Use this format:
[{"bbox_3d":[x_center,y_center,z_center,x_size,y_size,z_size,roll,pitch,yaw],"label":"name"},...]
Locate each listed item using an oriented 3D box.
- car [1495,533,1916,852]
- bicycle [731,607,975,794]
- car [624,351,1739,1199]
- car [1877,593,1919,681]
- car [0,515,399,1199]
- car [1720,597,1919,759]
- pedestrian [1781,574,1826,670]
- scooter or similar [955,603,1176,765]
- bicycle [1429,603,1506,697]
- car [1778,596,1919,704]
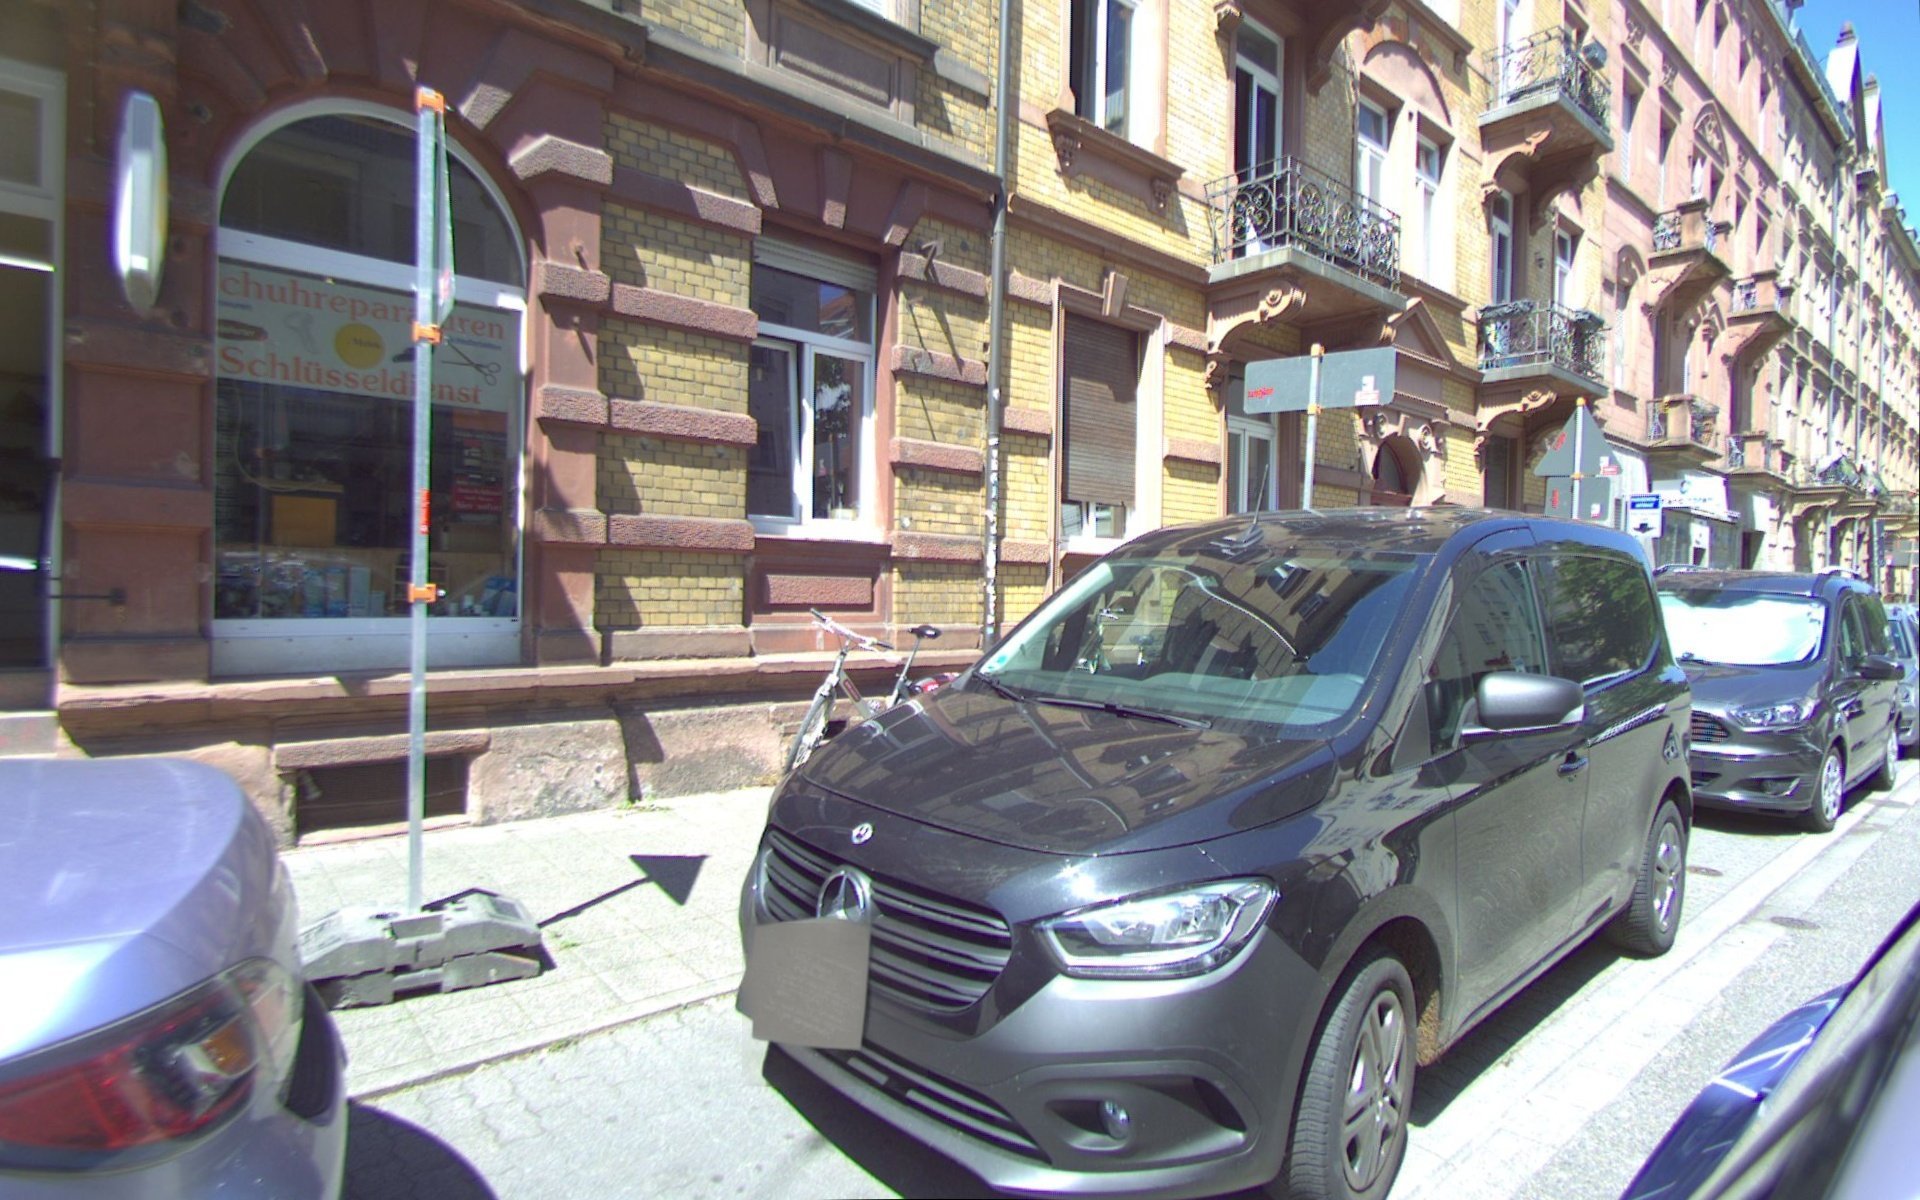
[{"bbox_3d":[5.666,0.498,7.511,3.930,1.755,1.704,0,0,-41],"label":"car"},{"bbox_3d":[-0.668,0.610,6.792,1.725,1.117,0.354,0,1,-41],"label":"bicycle"},{"bbox_3d":[1.219,0.471,3.691,4.264,1.788,1.827,0,2,-43],"label":"car"},{"bbox_3d":[17.658,0.621,18.113,3.628,1.481,1.600,0,0,-44],"label":"car"},{"bbox_3d":[-2.859,0.611,0.329,4.409,1.450,1.728,0,2,-43],"label":"car"},{"bbox_3d":[9.621,0.703,11.002,1.760,1.468,3.844,0,0,43],"label":"car"},{"bbox_3d":[17.454,0.446,20.935,0.363,1.938,0.634,1,0,-40],"label":"pedestrian"},{"bbox_3d":[0.915,0.618,8.264,2.111,1.167,0.477,0,0,-41],"label":"scooter or similar"},{"bbox_3d":[6.555,0.616,13.044,1.404,1.121,0.366,-1,2,-41],"label":"bicycle"},{"bbox_3d":[14.211,0.688,15.723,3.933,1.479,1.827,0,0,-43],"label":"car"}]
